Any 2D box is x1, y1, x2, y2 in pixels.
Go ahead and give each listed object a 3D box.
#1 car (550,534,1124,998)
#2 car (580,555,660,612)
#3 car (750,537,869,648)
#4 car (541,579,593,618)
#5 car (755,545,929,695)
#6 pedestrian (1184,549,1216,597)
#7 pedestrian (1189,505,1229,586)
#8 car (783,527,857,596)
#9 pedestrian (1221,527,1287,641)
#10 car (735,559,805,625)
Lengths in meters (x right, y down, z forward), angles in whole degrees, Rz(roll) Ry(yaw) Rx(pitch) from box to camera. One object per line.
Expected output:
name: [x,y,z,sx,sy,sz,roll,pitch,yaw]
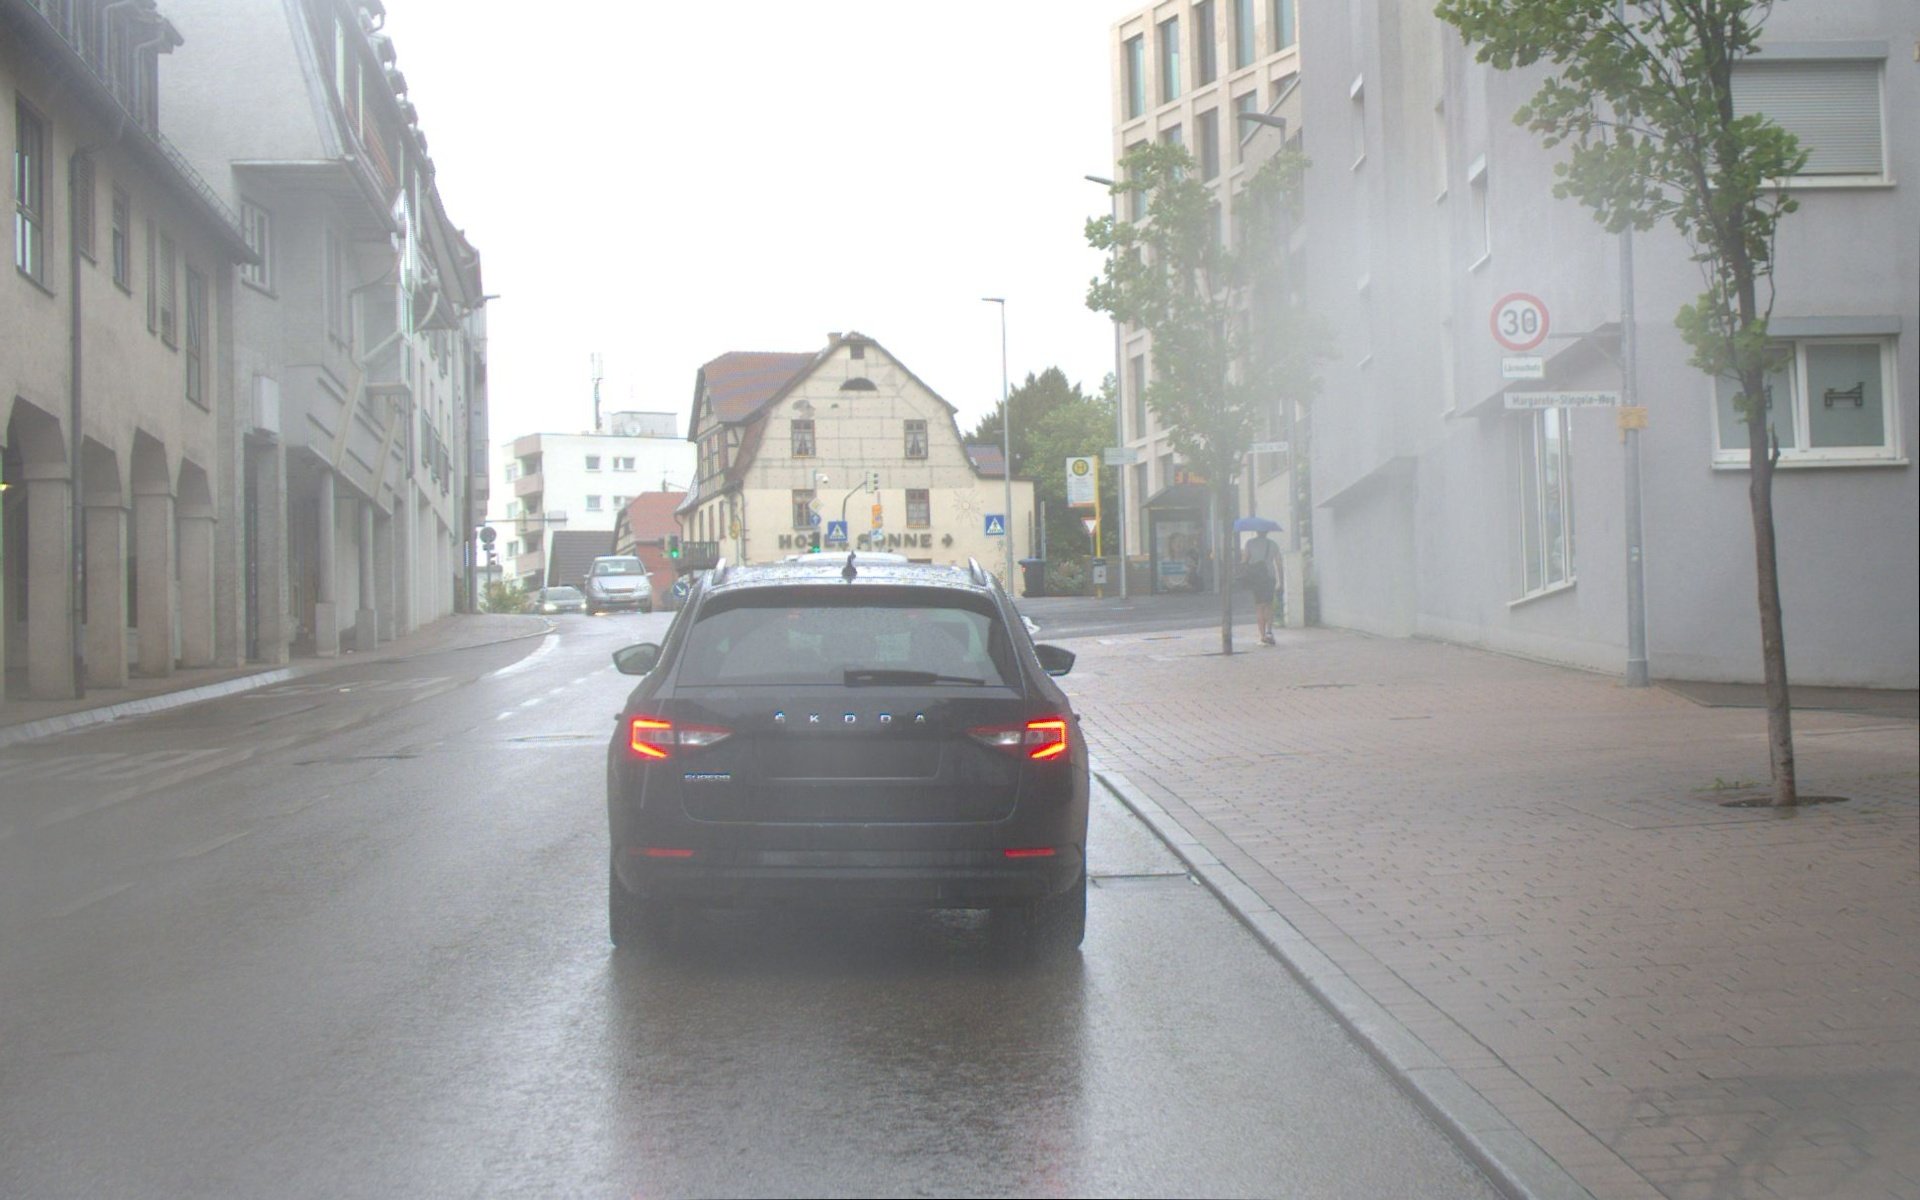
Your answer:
car: [-0.436,0.544,14.004,1.944,1.561,4.417,-1,1,0]
car: [-9.340,-0.466,94.652,1.677,1.505,3.588,-1,1,3]
car: [-2.281,-0.131,51.971,1.680,1.555,4.000,-2,1,-3]
car: [-14.482,-0.066,126.711,1.676,1.405,3.590,-1,1,-10]
car: [-1.323,0.188,37.175,1.677,1.505,3.589,-1,1,-5]
pedestrian: [5.979,-0.678,85.566,0.672,1.158,0.635,-3,0,-2]
pedestrian: [6.095,-1.323,84.167,0.782,1.933,1.021,-3,0,-2]
car: [-3.360,-0.927,82.136,1.680,1.555,4.000,-2,1,-3]
pedestrian: [4.119,-0.225,48.219,0.736,1.537,1.038,-4,0,1]
car: [-6.009,-0.268,109.160,1.993,2.007,4.000,-2,0,-1]
